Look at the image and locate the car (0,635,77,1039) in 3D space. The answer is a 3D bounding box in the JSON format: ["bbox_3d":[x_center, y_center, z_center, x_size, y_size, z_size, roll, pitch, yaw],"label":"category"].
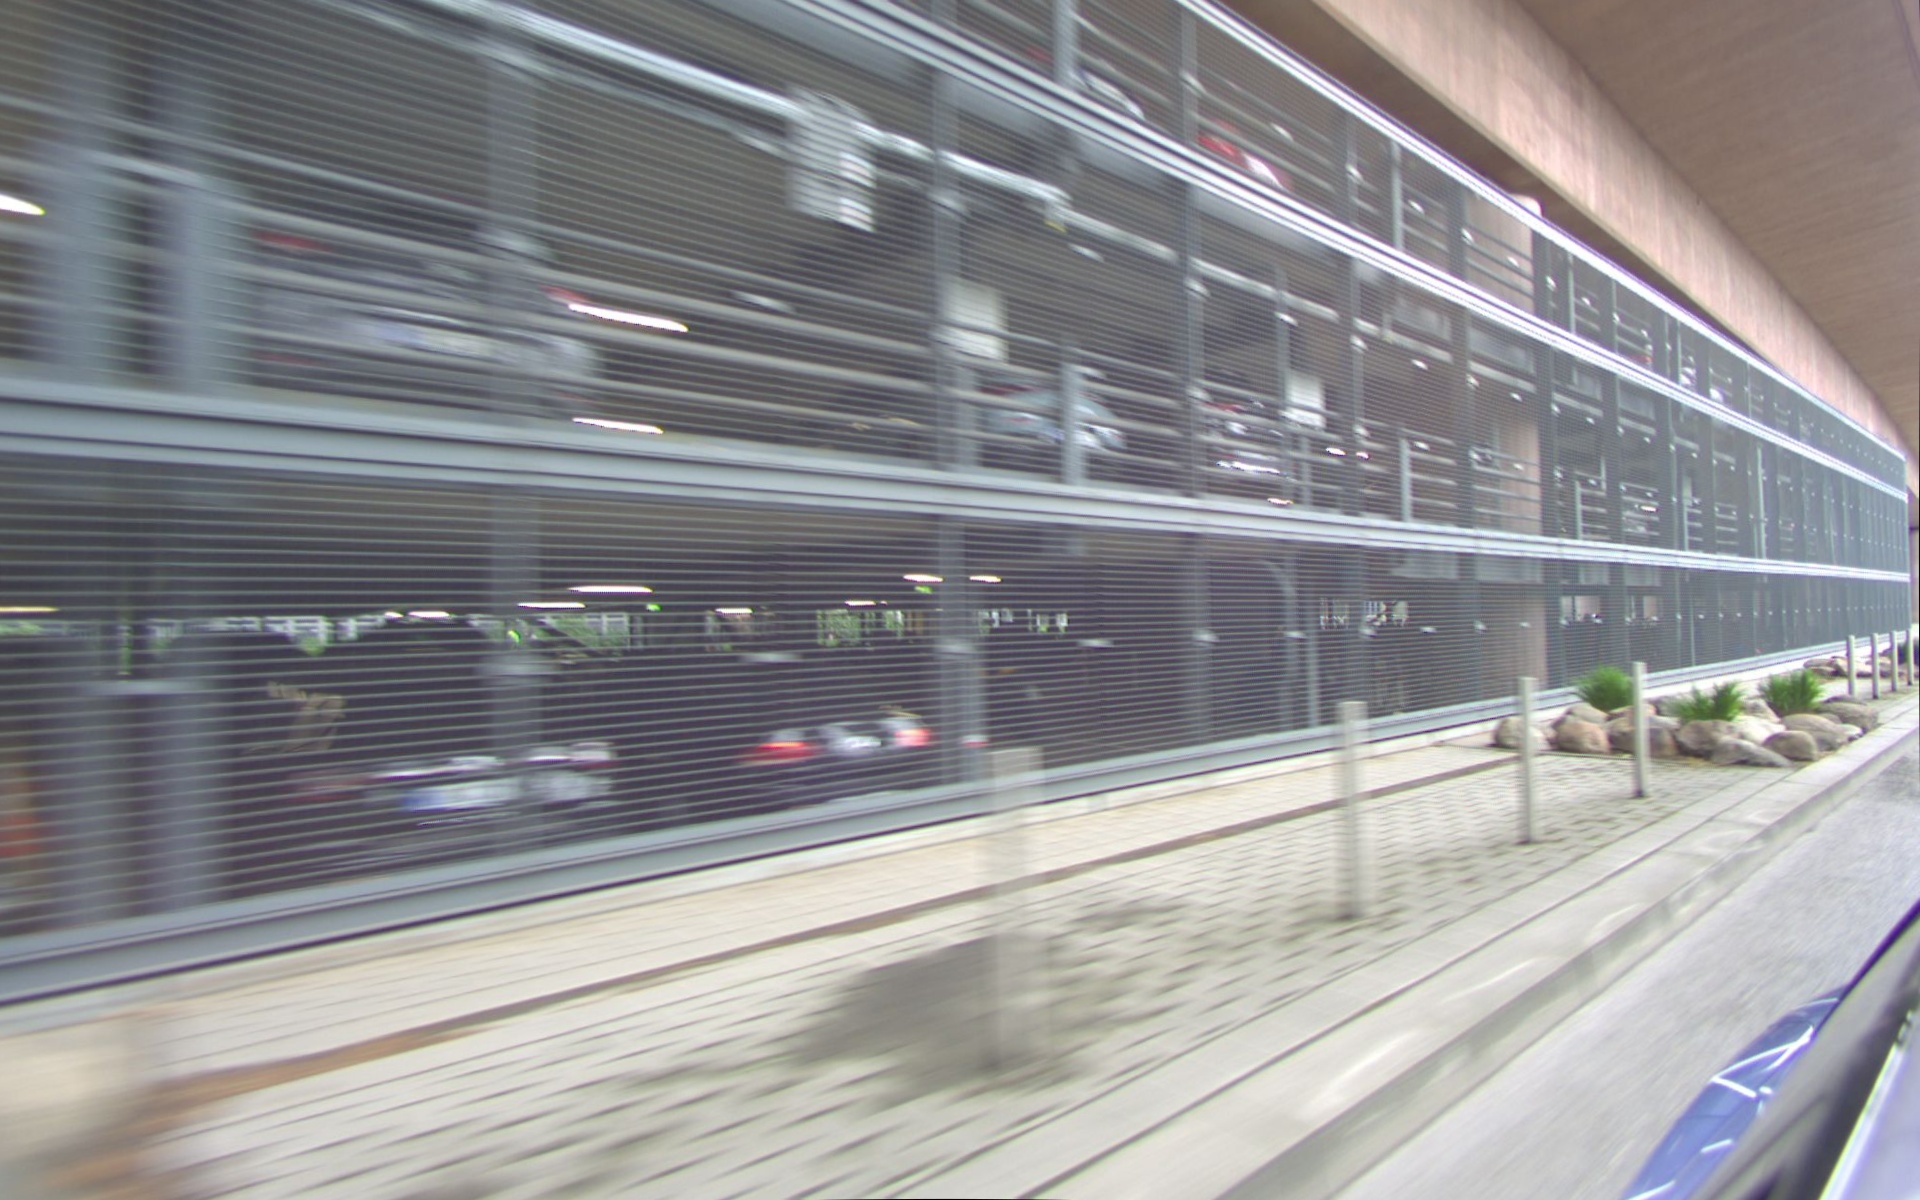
[{"bbox_3d":[-5.612,1.017,5.095,1.695,1.640,3.648,0,-2,-40],"label":"car"}]

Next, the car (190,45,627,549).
[{"bbox_3d":[-3.708,-1.405,6.415,1.700,1.891,3.994,1,-2,-39],"label":"car"}]

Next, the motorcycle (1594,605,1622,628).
[{"bbox_3d":[34.596,0.870,54.009,2.042,1.236,0.673,1,-2,-40],"label":"motorcycle"}]

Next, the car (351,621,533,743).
[{"bbox_3d":[-8.230,1.181,15.898,1.692,1.636,3.993,0,-2,-40],"label":"car"}]

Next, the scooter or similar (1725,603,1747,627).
[{"bbox_3d":[37.644,0.747,49.094,1.226,1.148,0.400,1,-2,-30],"label":"scooter or similar"}]

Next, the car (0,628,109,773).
[{"bbox_3d":[-12.235,1.214,13.132,1.802,1.636,3.993,0,-2,-40],"label":"car"}]

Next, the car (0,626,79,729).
[{"bbox_3d":[-15.832,1.236,16.895,1.624,1.557,3.647,0,-2,-40],"label":"car"}]

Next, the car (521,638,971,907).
[{"bbox_3d":[-1.893,1.069,7.942,1.779,1.485,3.993,0,-2,-40],"label":"car"}]
